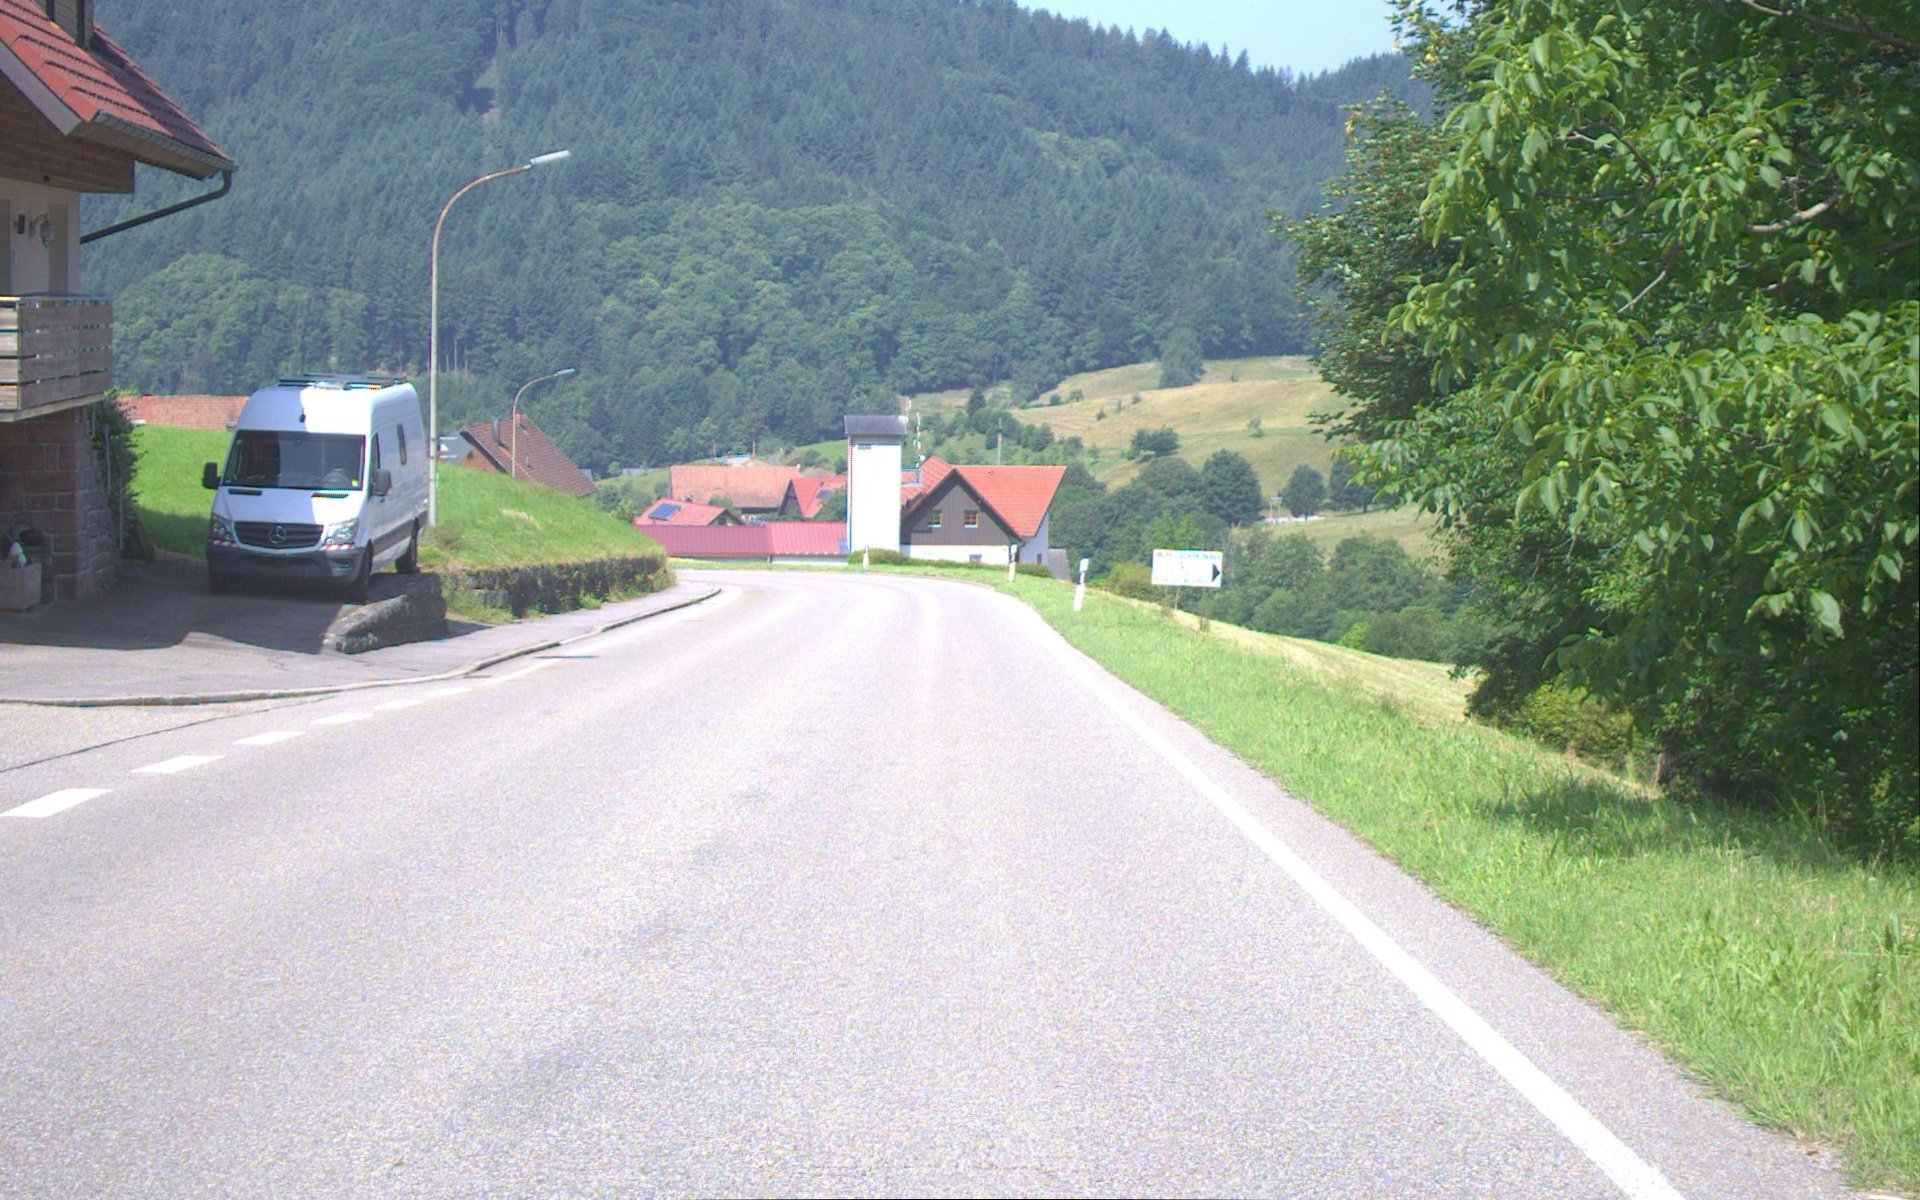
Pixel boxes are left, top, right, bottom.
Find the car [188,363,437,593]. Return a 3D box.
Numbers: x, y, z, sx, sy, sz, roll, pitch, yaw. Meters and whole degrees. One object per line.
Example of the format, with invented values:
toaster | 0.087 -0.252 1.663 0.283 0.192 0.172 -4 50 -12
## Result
car | -8.400 -1.720 45.255 2.067 2.679 7.176 1 4 -1
